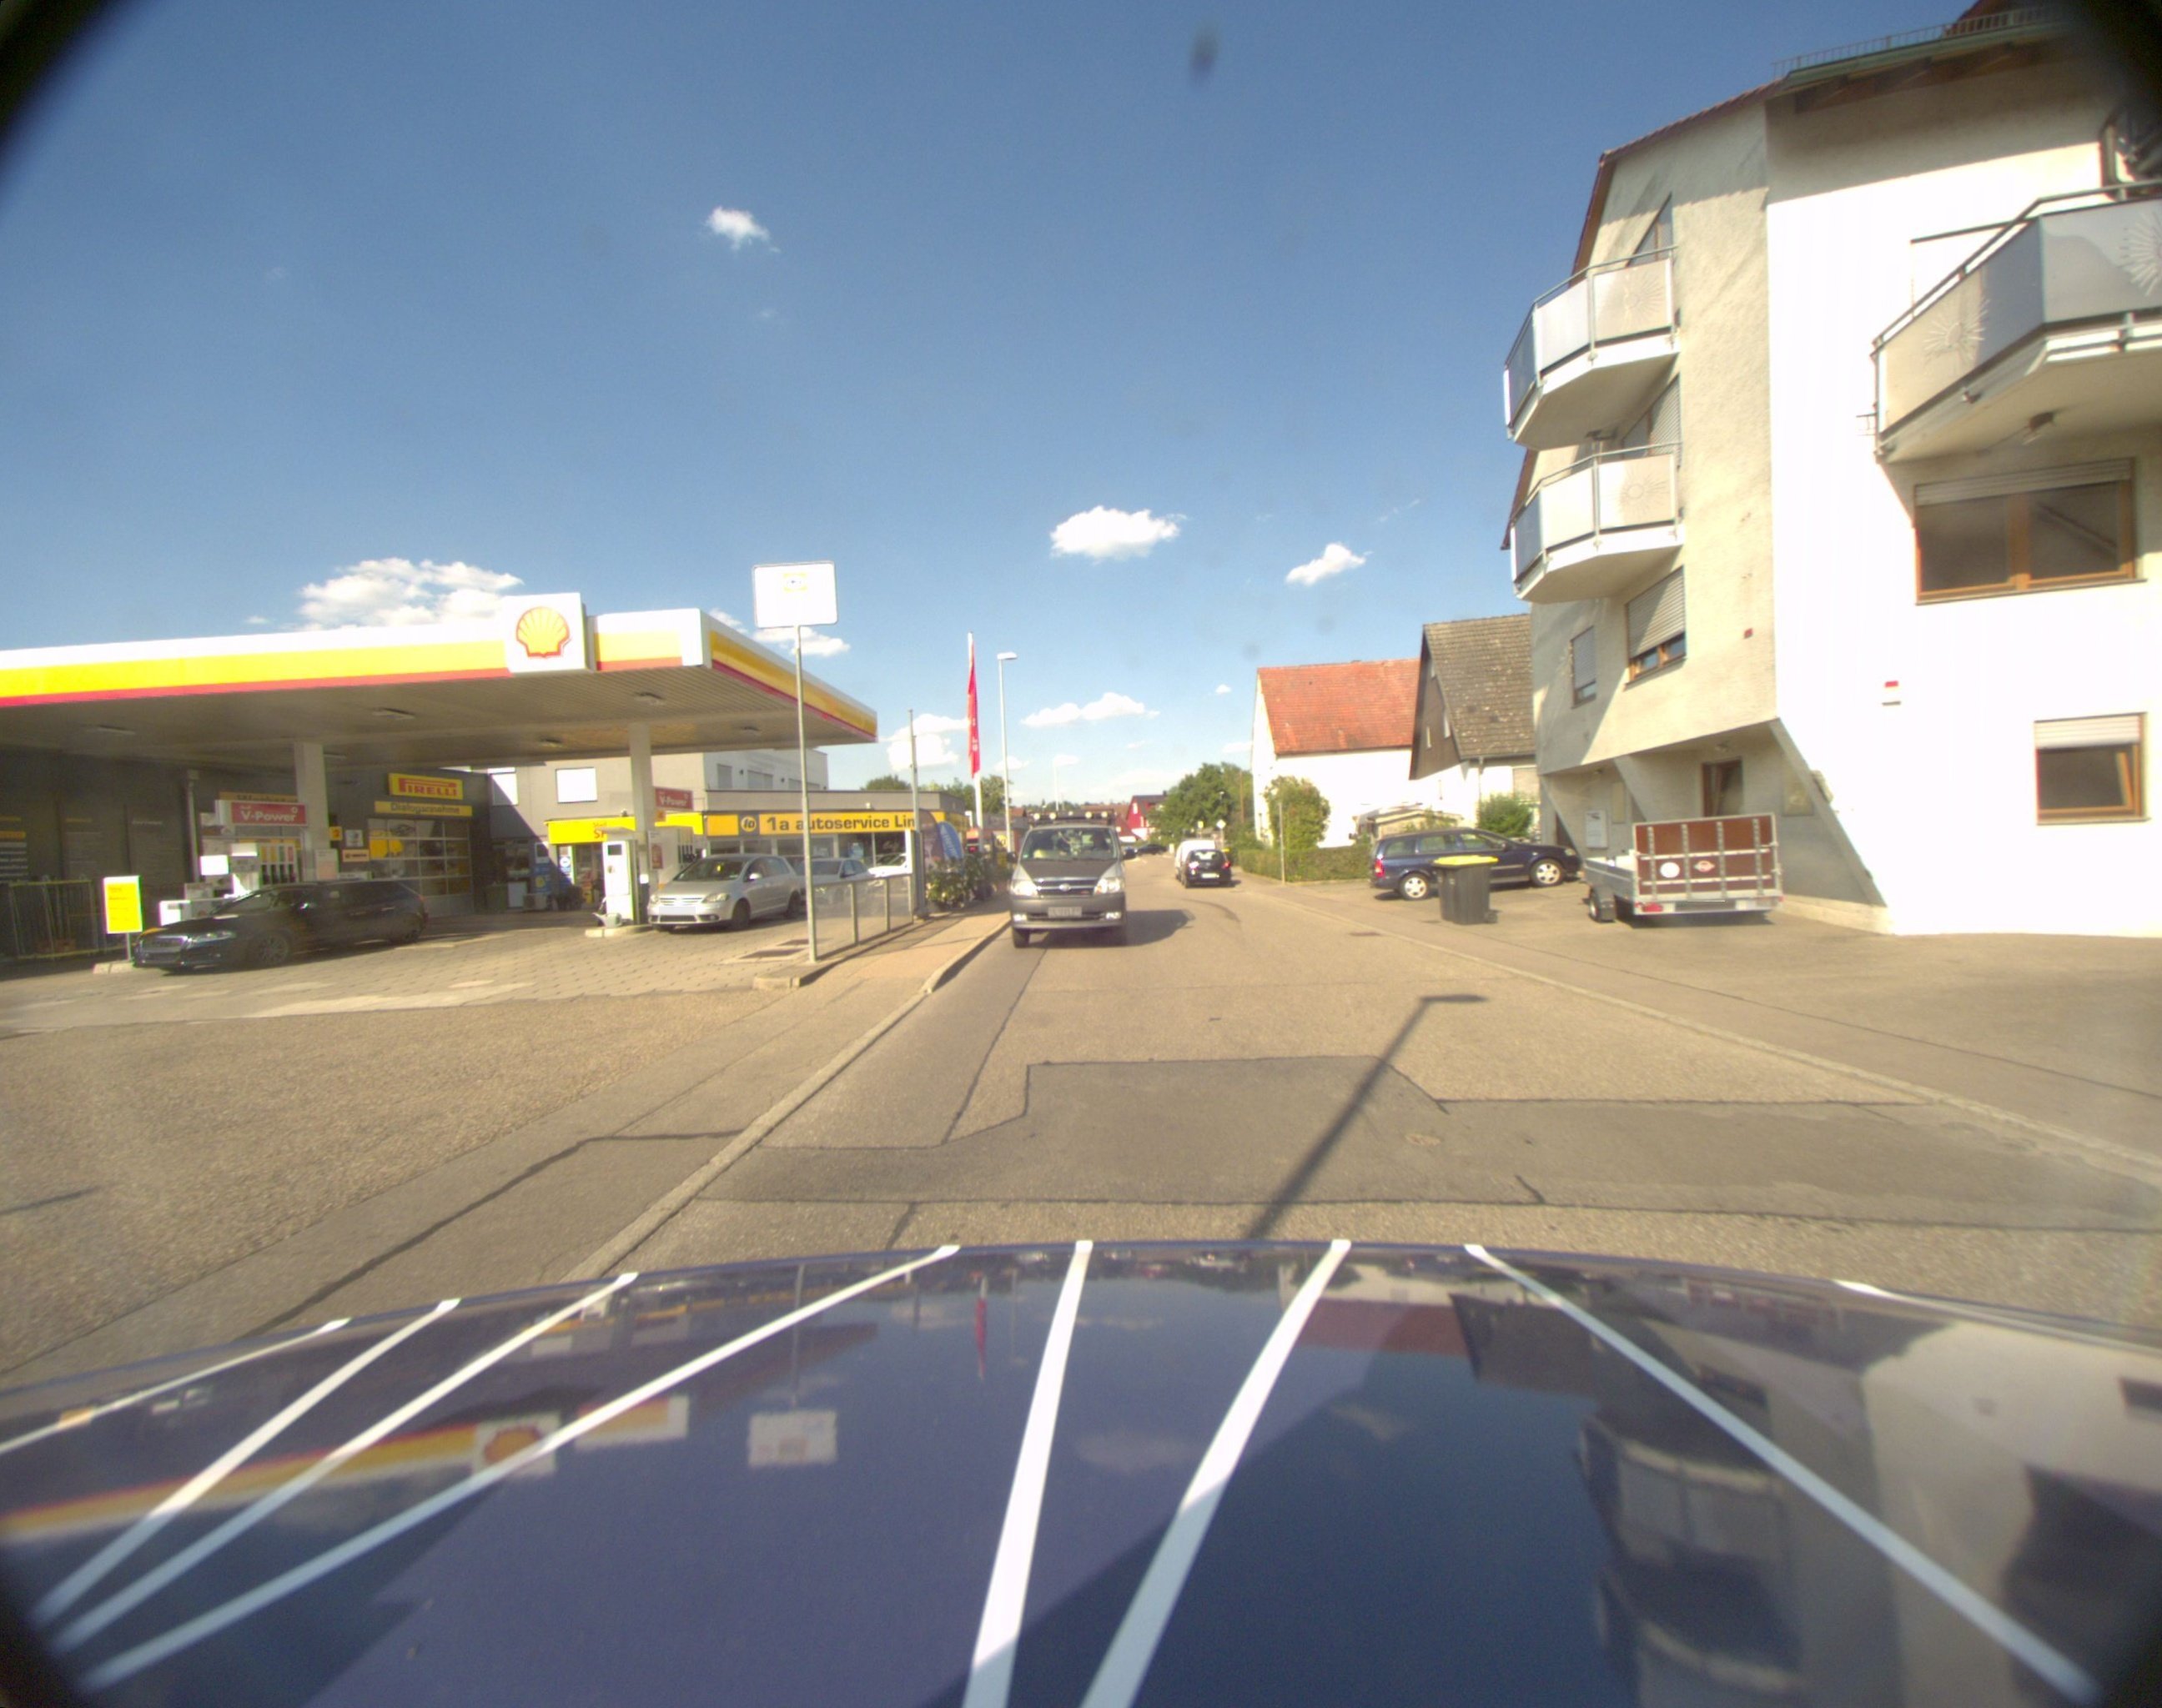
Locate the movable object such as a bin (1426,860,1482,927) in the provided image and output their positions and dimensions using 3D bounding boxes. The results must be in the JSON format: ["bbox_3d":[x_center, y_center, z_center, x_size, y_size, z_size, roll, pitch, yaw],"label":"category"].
[{"bbox_3d":[6.385,0.657,13.037,0.601,1.065,0.619,-5,1,3],"label":"movable object such as a bin"}]

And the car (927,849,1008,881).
[{"bbox_3d":[-6.090,0.588,40.907,3.996,1.522,1.528,-2,1,4],"label":"car"}]

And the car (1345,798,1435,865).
[{"bbox_3d":[13.531,-0.960,33.770,2.162,2.581,6.097,-3,0,8],"label":"car"}]

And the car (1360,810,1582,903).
[{"bbox_3d":[8.527,0.065,16.979,3.993,1.529,1.764,-7,0,15],"label":"car"}]

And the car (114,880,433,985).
[{"bbox_3d":[-14.782,1.340,14.307,1.540,1.392,3.998,-2,2,3],"label":"car"}]

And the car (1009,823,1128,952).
[{"bbox_3d":[-0.110,0.493,14.358,1.819,1.989,4.821,-1,1,2],"label":"car"}]

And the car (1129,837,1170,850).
[{"bbox_3d":[8.688,-1.384,96.838,4.848,1.423,1.768,-2,2,-18],"label":"car"}]

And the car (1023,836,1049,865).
[{"bbox_3d":[-3.745,-0.319,64.584,1.841,2.361,5.177,-2,1,0],"label":"car"}]

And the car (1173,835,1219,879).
[{"bbox_3d":[5.181,0.116,34.735,1.720,1.862,4.192,-1,1,4],"label":"car"}]

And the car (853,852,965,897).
[{"bbox_3d":[-6.953,0.769,30.949,4.085,1.665,1.672,-1,1,-39],"label":"car"}]

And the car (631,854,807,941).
[{"bbox_3d":[-7.575,0.826,16.393,1.676,1.568,3.999,-2,0,3],"label":"car"}]

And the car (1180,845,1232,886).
[{"bbox_3d":[4.754,0.399,29.263,1.676,1.443,3.835,-2,1,5],"label":"car"}]

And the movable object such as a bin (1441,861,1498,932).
[{"bbox_3d":[6.333,0.684,12.413,0.571,1.065,0.557,-5,1,3],"label":"movable object such as a bin"}]

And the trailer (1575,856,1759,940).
[{"bbox_3d":[8.578,0.594,11.369,1.331,0.851,2.894,-4,3,20],"label":"trailer"}]

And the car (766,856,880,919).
[{"bbox_3d":[-7.212,0.869,21.667,1.676,1.568,3.999,-2,0,3],"label":"car"}]

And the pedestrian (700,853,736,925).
[{"bbox_3d":[-8.653,0.820,18.143,0.501,1.660,0.534,-2,1,3],"label":"pedestrian"}]

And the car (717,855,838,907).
[{"bbox_3d":[-10.969,0.909,27.579,3.693,1.624,1.672,-3,2,-39],"label":"car"}]
